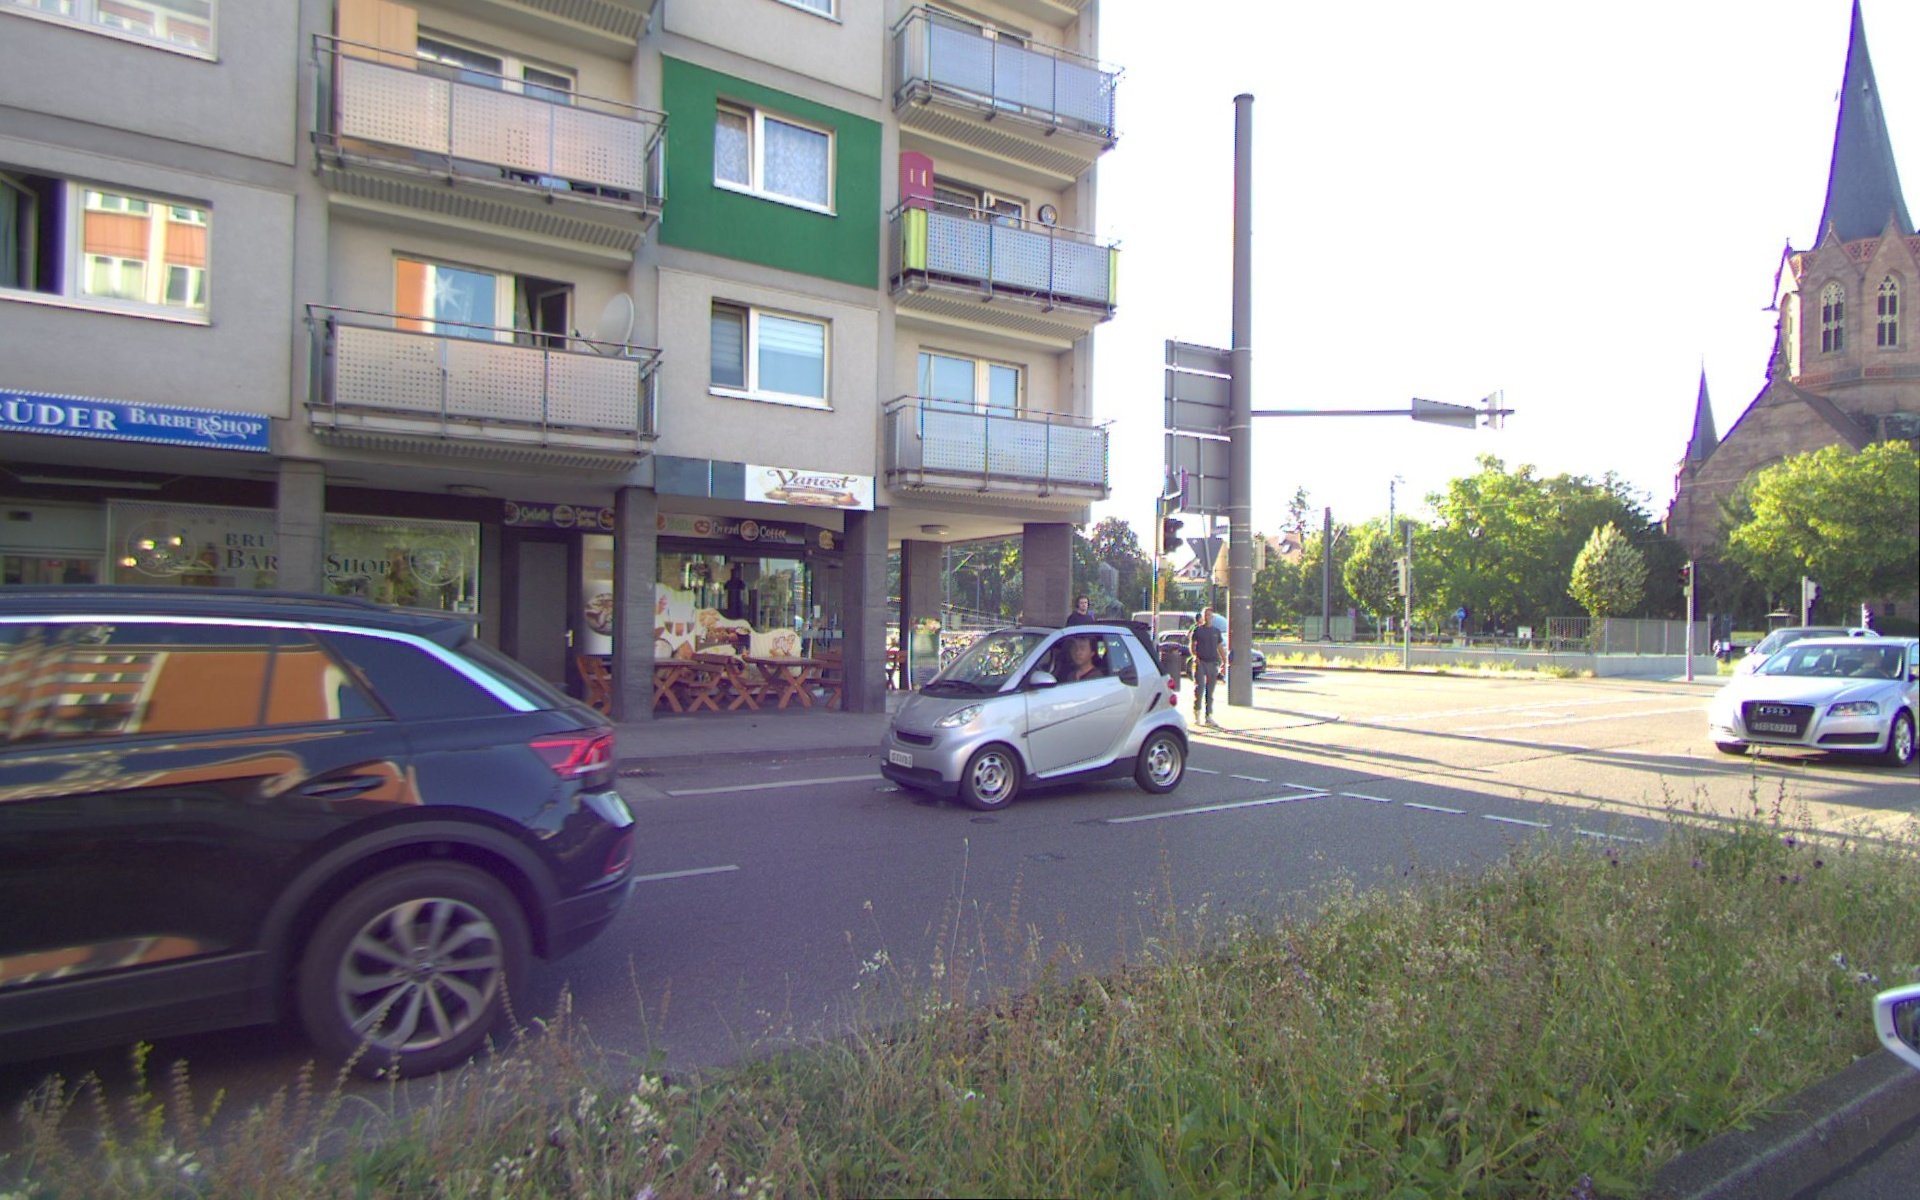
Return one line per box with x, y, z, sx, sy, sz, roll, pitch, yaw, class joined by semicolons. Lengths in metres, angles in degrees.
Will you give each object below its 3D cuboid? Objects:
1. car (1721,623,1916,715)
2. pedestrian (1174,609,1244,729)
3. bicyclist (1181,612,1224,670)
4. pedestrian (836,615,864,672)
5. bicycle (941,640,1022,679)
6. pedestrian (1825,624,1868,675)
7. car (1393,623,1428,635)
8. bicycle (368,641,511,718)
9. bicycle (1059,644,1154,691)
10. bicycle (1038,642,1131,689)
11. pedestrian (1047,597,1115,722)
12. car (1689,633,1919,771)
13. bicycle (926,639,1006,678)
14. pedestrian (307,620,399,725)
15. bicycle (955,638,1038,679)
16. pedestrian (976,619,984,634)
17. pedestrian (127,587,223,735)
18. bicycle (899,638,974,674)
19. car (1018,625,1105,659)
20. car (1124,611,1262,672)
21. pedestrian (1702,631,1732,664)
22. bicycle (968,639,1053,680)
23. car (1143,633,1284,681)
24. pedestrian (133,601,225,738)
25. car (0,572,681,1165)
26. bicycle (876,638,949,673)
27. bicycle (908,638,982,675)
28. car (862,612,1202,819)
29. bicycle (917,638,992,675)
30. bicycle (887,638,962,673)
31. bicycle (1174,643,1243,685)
16.002;1.235;18.698;3.595;1.565;1.667;1;-2;-31;car
3.899;1.064;15.724;0.802;1.811;0.606;1;2;-27;pedestrian
6.895;1.170;28.606;0.952;1.619;0.732;1;-2;-30;bicyclist
-3.443;1.362;31.494;0.677;1.745;0.605;1;-1;-31;pedestrian
0.615;1.684;28.598;2.273;1.065;0.731;2;-2;-31;bicycle
31.517;1.764;35.703;0.803;1.762;0.960;2;-1;-32;pedestrian
67.684;4.369;150.952;1.985;1.592;4.411;2;-2;-41;car
-7.355;1.106;14.237;1.684;1.012;0.619;2;-2;-40;bicycle
3.461;1.574;23.693;2.273;1.065;0.731;2;-1;-31;bicycle
3.038;1.580;24.377;2.273;1.065;0.731;2;-2;-31;bicycle
1.904;0.927;15.857;0.802;1.900;0.605;1;2;-30;pedestrian
10.919;1.135;12.333;4.054;1.444;1.700;1;-2;-31;car
0.177;1.699;29.278;2.273;1.065;0.731;2;-2;-31;bicycle
-7.949;0.929;13.184;0.613;1.331;0.811;0;-1;16;pedestrian
1.016;1.618;27.907;2.273;1.065;0.731;2;-2;-31;bicycle
2.361;3.127;118.460;0.677;1.847;0.531;2;-1;-27;pedestrian
-9.295;0.700;11.903;0.613;1.694;0.658;0;-1;24;pedestrian
-0.720;1.715;30.881;2.273;1.065;0.642;2;-2;-31;bicycle
4.363;1.806;43.600;1.781;1.392;3.880;2;-2;-32;car
8.307;1.436;36.250;1.978;2.040;4.896;2;-2;-32;car
42.149;2.636;55.906;0.828;1.719;1.016;2;0;-5;pedestrian
1.379;1.601;27.227;2.273;1.065;0.731;2;-2;-31;bicycle
7.740;1.713;31.033;1.781;1.330;4.165;2;-2;-32;car
-8.779;0.765;11.317;0.616;1.486;0.655;1;-1;-22;pedestrian
-3.153;0.735;3.278;4.054;1.565;1.667;1;-2;-31;car
-1.509;1.770;32.256;2.273;1.065;0.731;2;-2;-31;bicycle
-0.442;1.708;30.373;2.273;1.065;0.558;2;-2;-31;bicycle
0.669;0.956;9.266;2.776;1.614;1.527;1;-2;-31;car
-0.147;1.677;29.864;2.273;1.065;0.558;2;-2;-31;bicycle
-1.104;1.736;31.567;2.273;1.065;0.731;2;-2;-31;bicycle
7.009;1.786;28.400;0.940;1.112;1.769;1;-2;-30;bicycle
